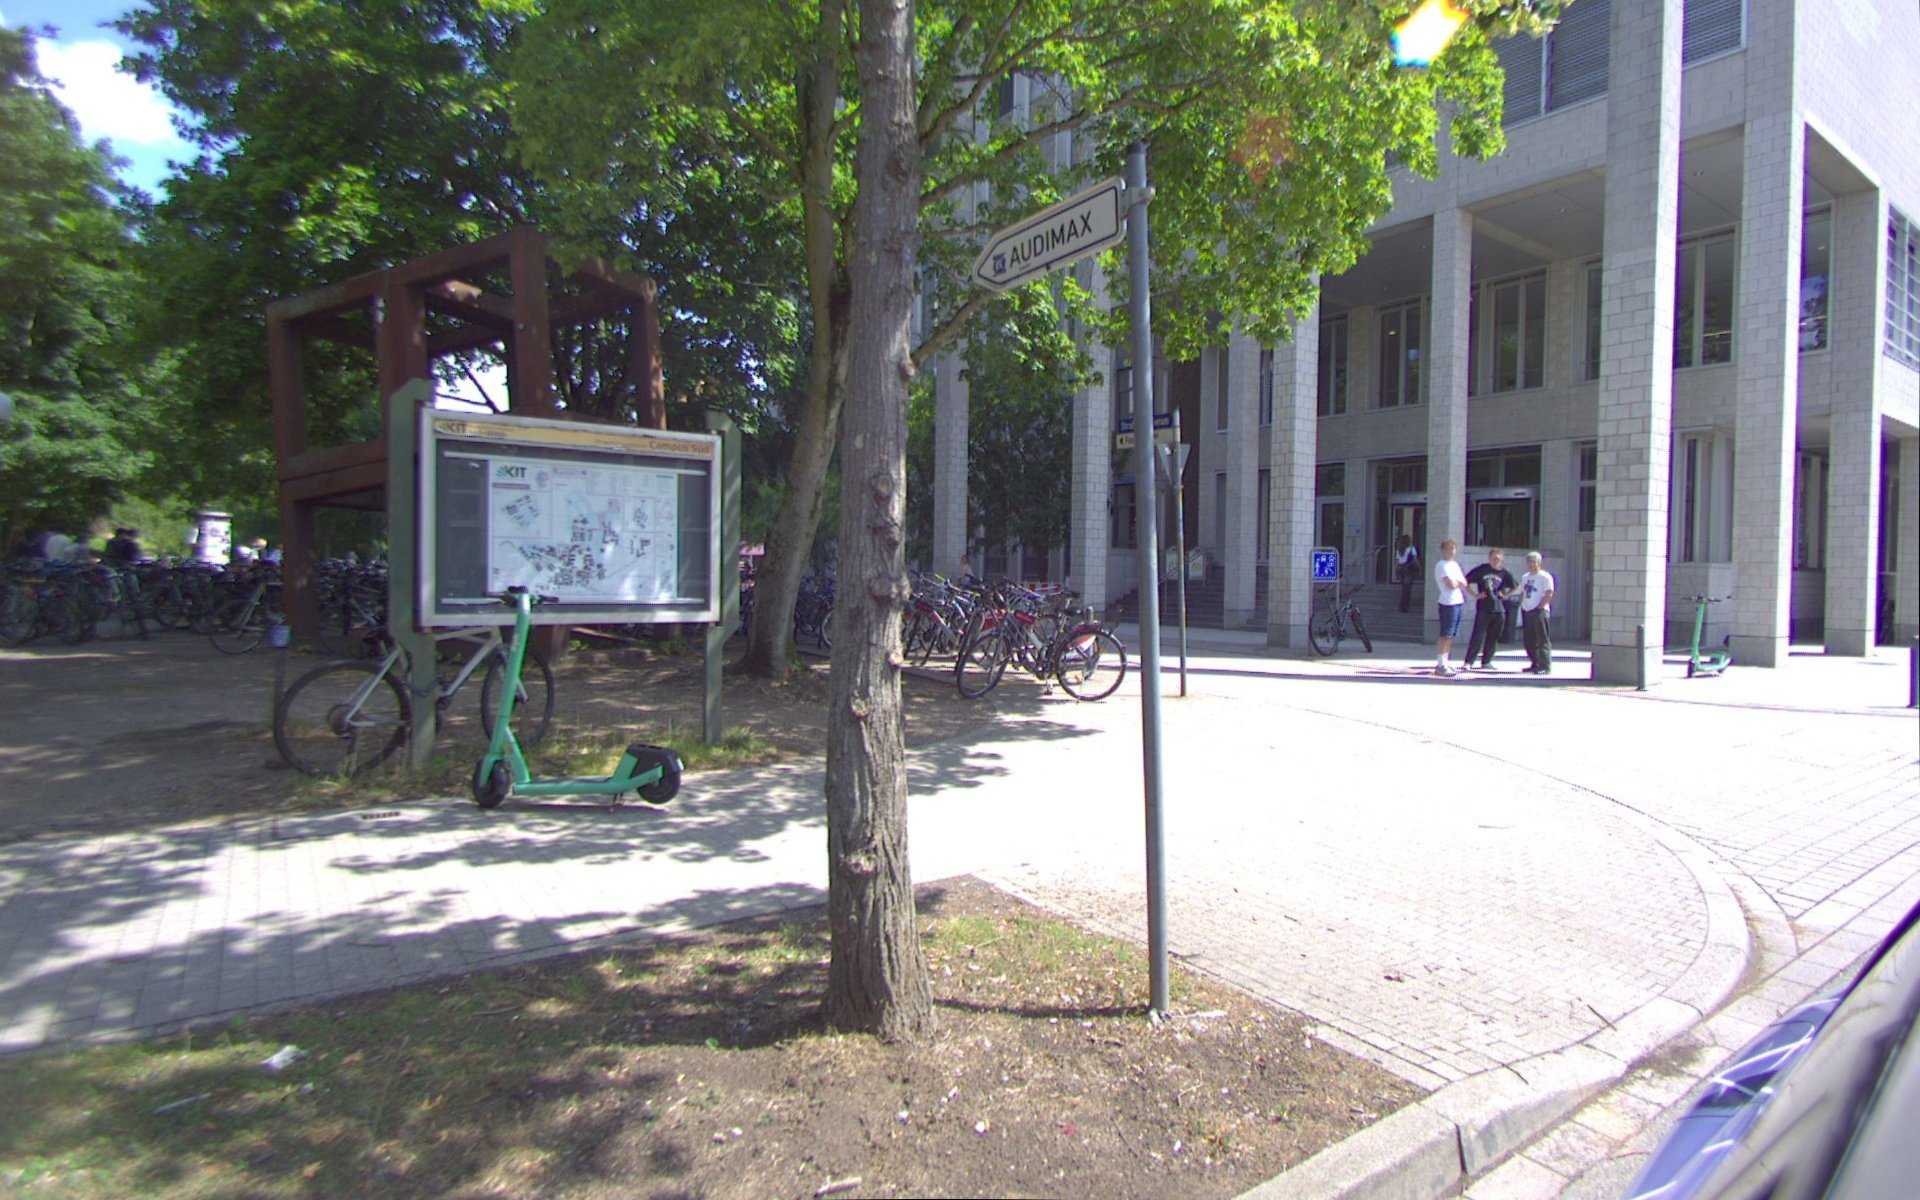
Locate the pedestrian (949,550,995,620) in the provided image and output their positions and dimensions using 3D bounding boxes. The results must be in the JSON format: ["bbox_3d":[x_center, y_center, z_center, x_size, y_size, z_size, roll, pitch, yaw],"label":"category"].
[{"bbox_3d":[0.313,-0.399,26.216,0.932,1.762,0.740,1,1,36],"label":"pedestrian"}]

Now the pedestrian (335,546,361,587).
[{"bbox_3d":[-23.685,-1.311,39.176,0.681,1.530,0.514,4,3,11],"label":"pedestrian"}]

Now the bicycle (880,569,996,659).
[{"bbox_3d":[-0.273,0.183,13.079,1.445,1.099,0.461,2,2,-35],"label":"bicycle"}]

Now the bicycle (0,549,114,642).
[{"bbox_3d":[-12.210,-0.077,13.570,1.819,1.185,0.386,2,1,16],"label":"bicycle"}]

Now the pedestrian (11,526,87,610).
[{"bbox_3d":[-20.309,-0.710,22.580,0.825,1.797,0.993,1,1,-5],"label":"pedestrian"}]

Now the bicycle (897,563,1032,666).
[{"bbox_3d":[0.049,0.171,12.181,1.494,1.155,0.493,3,2,-16],"label":"bicycle"}]

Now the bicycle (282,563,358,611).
[{"bbox_3d":[-14.904,-0.302,23.579,1.443,1.098,0.479,0,-1,-2],"label":"bicycle"}]

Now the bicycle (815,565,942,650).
[{"bbox_3d":[-1.119,0.115,14.014,1.662,1.099,0.483,2,2,-30],"label":"bicycle"}]

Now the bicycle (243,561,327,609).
[{"bbox_3d":[-14.954,-0.342,22.421,1.878,0.991,0.476,2,2,18],"label":"bicycle"}]

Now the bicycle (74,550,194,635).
[{"bbox_3d":[-12.175,-0.125,14.905,1.819,1.185,0.411,2,1,16],"label":"bicycle"}]

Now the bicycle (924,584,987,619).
[{"bbox_3d":[-0.113,0.033,26.598,1.741,0.911,0.337,-1,1,-30],"label":"bicycle"}]

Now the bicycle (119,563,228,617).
[{"bbox_3d":[-15.397,-0.208,19.813,1.870,0.991,0.478,2,2,5],"label":"bicycle"}]

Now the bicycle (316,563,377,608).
[{"bbox_3d":[-14.993,-0.345,24.730,1.453,1.098,0.450,0,-1,21],"label":"bicycle"}]

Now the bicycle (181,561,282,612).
[{"bbox_3d":[-15.311,-0.293,21.273,1.870,0.991,0.478,2,2,5],"label":"bicycle"}]

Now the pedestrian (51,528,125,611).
[{"bbox_3d":[-19.530,-0.672,22.680,0.825,1.797,0.993,1,1,-5],"label":"pedestrian"}]

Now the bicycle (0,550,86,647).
[{"bbox_3d":[-12.108,-0.038,13.059,1.821,1.185,0.386,2,1,19],"label":"bicycle"}]

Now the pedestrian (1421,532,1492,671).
[{"bbox_3d":[7.070,0.006,14.424,0.674,1.914,0.687,-1,1,-38],"label":"pedestrian"}]

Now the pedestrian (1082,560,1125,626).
[{"bbox_3d":[3.919,-0.210,27.651,0.734,1.762,0.939,0,1,-27],"label":"pedestrian"}]

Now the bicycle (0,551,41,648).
[{"bbox_3d":[-12.389,-0.036,12.750,1.821,1.185,0.351,2,1,19],"label":"bicycle"}]

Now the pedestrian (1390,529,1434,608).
[{"bbox_3d":[10.198,-0.705,22.813,0.688,1.756,0.674,2,1,44],"label":"pedestrian"}]

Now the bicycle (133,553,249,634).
[{"bbox_3d":[-11.795,-0.112,15.517,1.819,1.185,0.411,2,1,16],"label":"bicycle"}]

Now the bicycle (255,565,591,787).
[{"bbox_3d":[-3.130,0.371,6.078,0.623,1.097,1.670,-1,3,31],"label":"bicycle"}]

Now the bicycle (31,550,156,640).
[{"bbox_3d":[-12.158,-0.081,14.194,1.819,1.185,0.411,2,1,16],"label":"bicycle"}]

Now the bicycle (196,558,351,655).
[{"bbox_3d":[-8.499,0.041,12.612,0.469,1.123,1.661,1,2,17],"label":"bicycle"}]

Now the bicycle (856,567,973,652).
[{"bbox_3d":[-0.609,0.138,13.774,1.485,1.099,0.483,2,2,-30],"label":"bicycle"}]

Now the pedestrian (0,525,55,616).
[{"bbox_3d":[-19.121,-0.603,20.614,0.729,1.797,0.722,1,1,-11],"label":"pedestrian"}]

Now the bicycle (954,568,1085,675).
[{"bbox_3d":[0.709,0.243,11.749,1.462,1.155,0.561,2,2,-38],"label":"bicycle"}]

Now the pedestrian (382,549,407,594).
[{"bbox_3d":[-20.408,-1.032,36.548,0.729,1.589,0.722,1,1,-27],"label":"pedestrian"}]

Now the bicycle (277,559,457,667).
[{"bbox_3d":[-6.594,0.112,11.250,1.899,1.123,0.629,1,2,19],"label":"bicycle"}]

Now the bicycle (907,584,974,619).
[{"bbox_3d":[-0.529,0.034,27.329,1.739,0.911,0.449,1,0,-17],"label":"bicycle"}]

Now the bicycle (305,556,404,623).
[{"bbox_3d":[-11.385,-0.205,19.031,1.815,1.185,0.345,2,1,10],"label":"bicycle"}]

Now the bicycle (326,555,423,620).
[{"bbox_3d":[-11.194,-0.249,19.349,1.815,1.185,0.345,2,1,10],"label":"bicycle"}]

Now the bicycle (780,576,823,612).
[{"bbox_3d":[-5.122,-0.208,32.687,0.560,1.117,1.833,2,0,-37],"label":"bicycle"}]

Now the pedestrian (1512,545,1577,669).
[{"bbox_3d":[8.419,0.086,14.592,0.532,1.750,0.614,0,2,-34],"label":"pedestrian"}]

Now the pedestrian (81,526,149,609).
[{"bbox_3d":[-18.889,-0.718,22.649,0.838,1.797,0.813,1,1,-4],"label":"pedestrian"}]

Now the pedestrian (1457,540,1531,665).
[{"bbox_3d":[7.985,0.017,15.154,0.797,1.819,0.618,1,1,11],"label":"pedestrian"}]

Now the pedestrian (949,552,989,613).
[{"bbox_3d":[0.267,-0.534,29.849,0.932,1.762,0.739,1,1,36],"label":"pedestrian"}]

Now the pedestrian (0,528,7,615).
[{"bbox_3d":[-20.065,-0.593,20.575,0.729,1.797,0.722,1,1,-10],"label":"pedestrian"}]

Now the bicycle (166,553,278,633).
[{"bbox_3d":[-11.670,-0.125,15.996,1.819,1.185,0.411,2,1,16],"label":"bicycle"}]

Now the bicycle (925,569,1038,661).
[{"bbox_3d":[0.290,0.196,12.901,1.414,1.099,0.460,2,2,-38],"label":"bicycle"}]

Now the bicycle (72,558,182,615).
[{"bbox_3d":[-15.423,-0.262,18.741,1.873,0.991,0.477,2,2,11],"label":"bicycle"}]

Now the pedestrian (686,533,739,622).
[{"bbox_3d":[-4.923,-0.440,20.120,0.928,1.724,0.427,1,0,-40],"label":"pedestrian"}]

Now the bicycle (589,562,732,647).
[{"bbox_3d":[-4.116,0.066,13.935,1.790,1.091,0.465,2,2,-28],"label":"bicycle"}]

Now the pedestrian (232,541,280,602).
[{"bbox_3d":[-18.780,-0.760,27.000,0.732,1.589,0.720,2,1,6],"label":"pedestrian"}]
